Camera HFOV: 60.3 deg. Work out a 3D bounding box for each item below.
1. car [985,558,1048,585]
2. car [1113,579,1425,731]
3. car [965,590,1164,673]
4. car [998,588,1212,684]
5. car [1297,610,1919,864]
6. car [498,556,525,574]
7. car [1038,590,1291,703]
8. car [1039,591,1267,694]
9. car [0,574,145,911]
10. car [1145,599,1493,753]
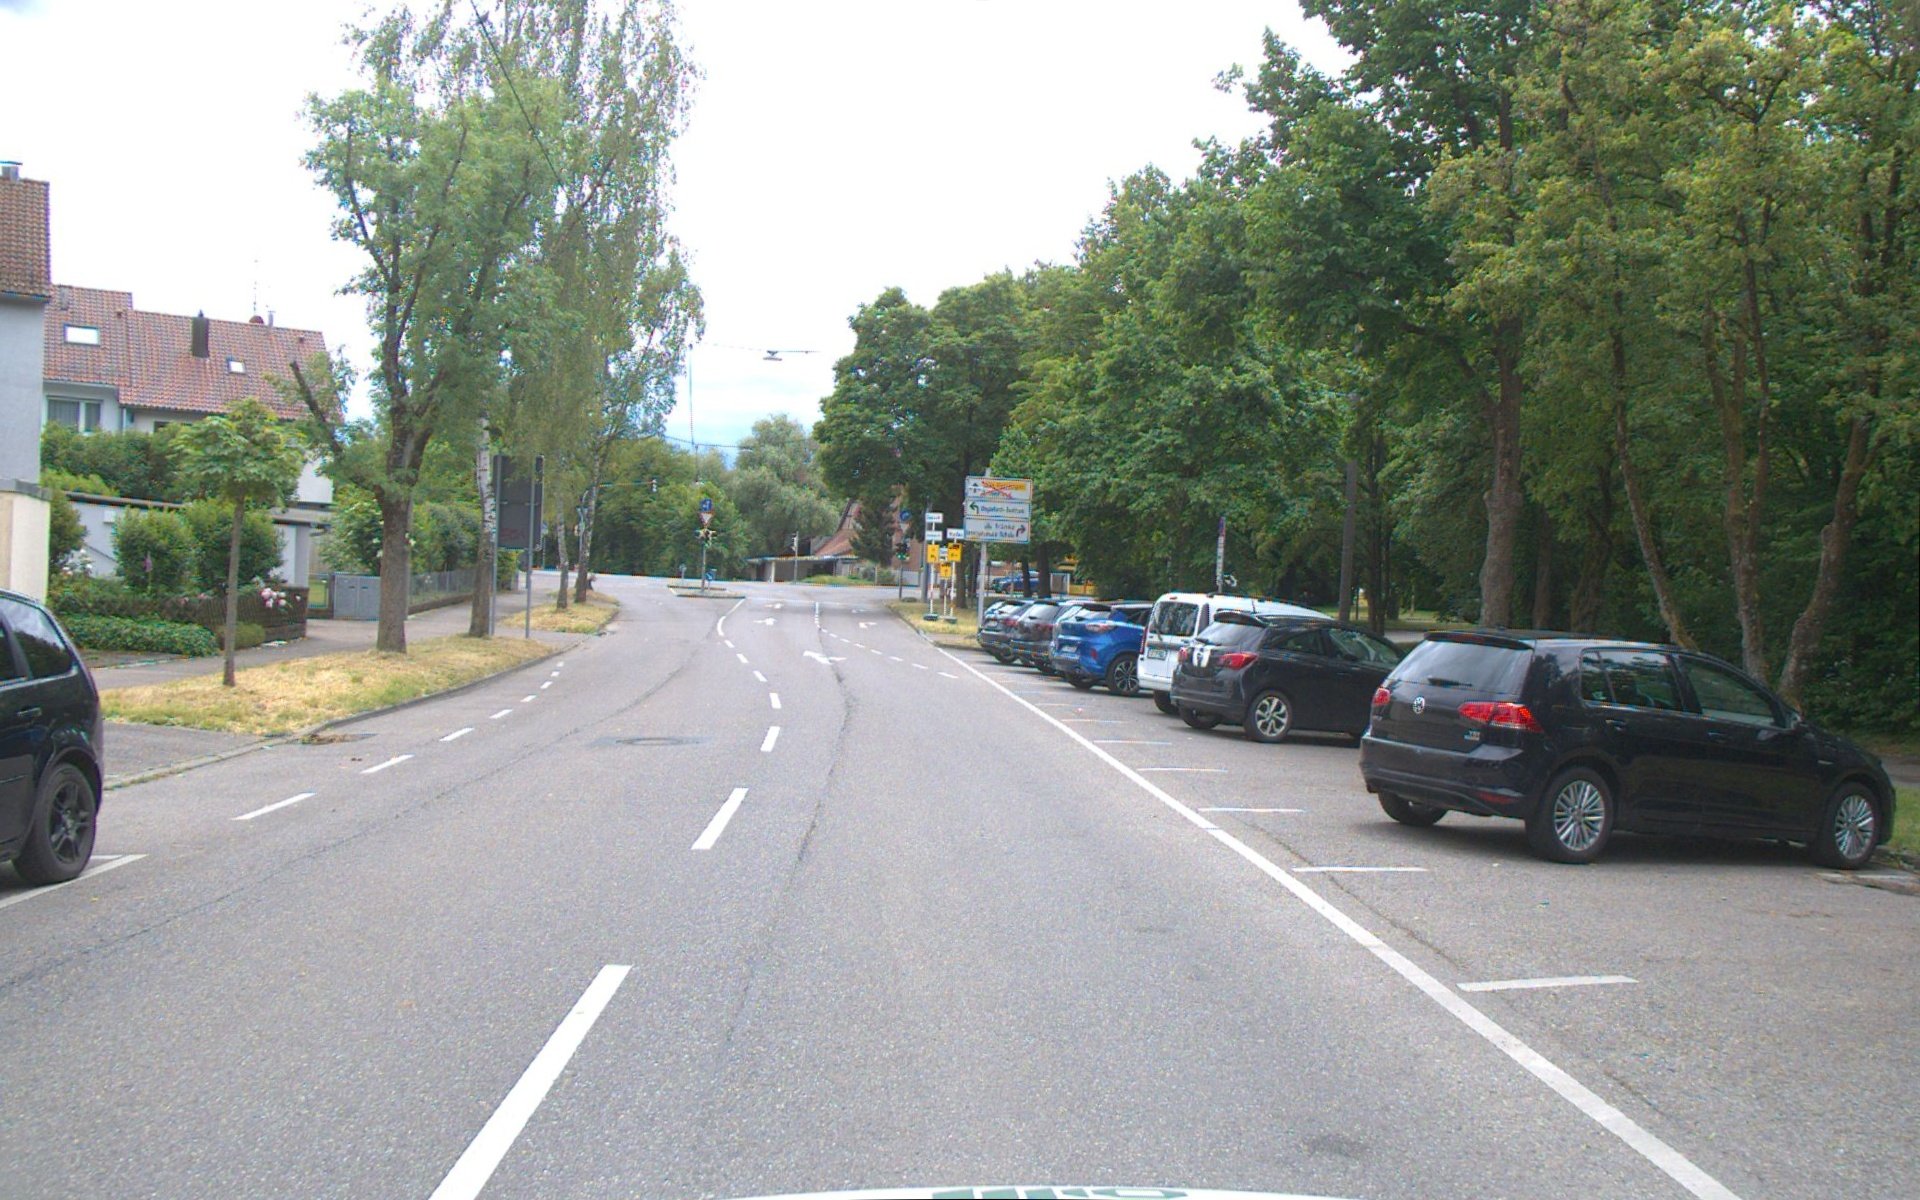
[{"bbox_3d":[3.866,-1.966,113.386,3.797,1.676,1.984,2,1,-26],"label":"car"},{"bbox_3d":[4.273,0.758,22.902,3.768,1.749,1.865,5,-1,-24],"label":"car"},{"bbox_3d":[2.248,0.679,35.671,3.822,1.450,1.817,5,-1,-24],"label":"car"},{"bbox_3d":[2.852,0.709,32.518,3.768,1.555,1.734,5,-1,-24],"label":"car"},{"bbox_3d":[4.681,0.972,11.862,3.934,1.438,2.043,5,-1,-24],"label":"car"},{"bbox_3d":[-40.232,-3.143,148.283,1.771,1.538,3.971,2,1,-24],"label":"car"},{"bbox_3d":[3.418,0.778,27.618,3.768,1.555,1.734,5,-1,-24],"label":"car"},{"bbox_3d":[3.568,0.781,30.567,3.768,1.555,1.734,5,-1,-24],"label":"car"},{"bbox_3d":[-5.400,0.688,7.141,1.768,1.590,4.265,-1,0,-2],"label":"car"},{"bbox_3d":[4.365,0.918,20.117,3.768,1.493,1.734,5,0,-24],"label":"car"}]
